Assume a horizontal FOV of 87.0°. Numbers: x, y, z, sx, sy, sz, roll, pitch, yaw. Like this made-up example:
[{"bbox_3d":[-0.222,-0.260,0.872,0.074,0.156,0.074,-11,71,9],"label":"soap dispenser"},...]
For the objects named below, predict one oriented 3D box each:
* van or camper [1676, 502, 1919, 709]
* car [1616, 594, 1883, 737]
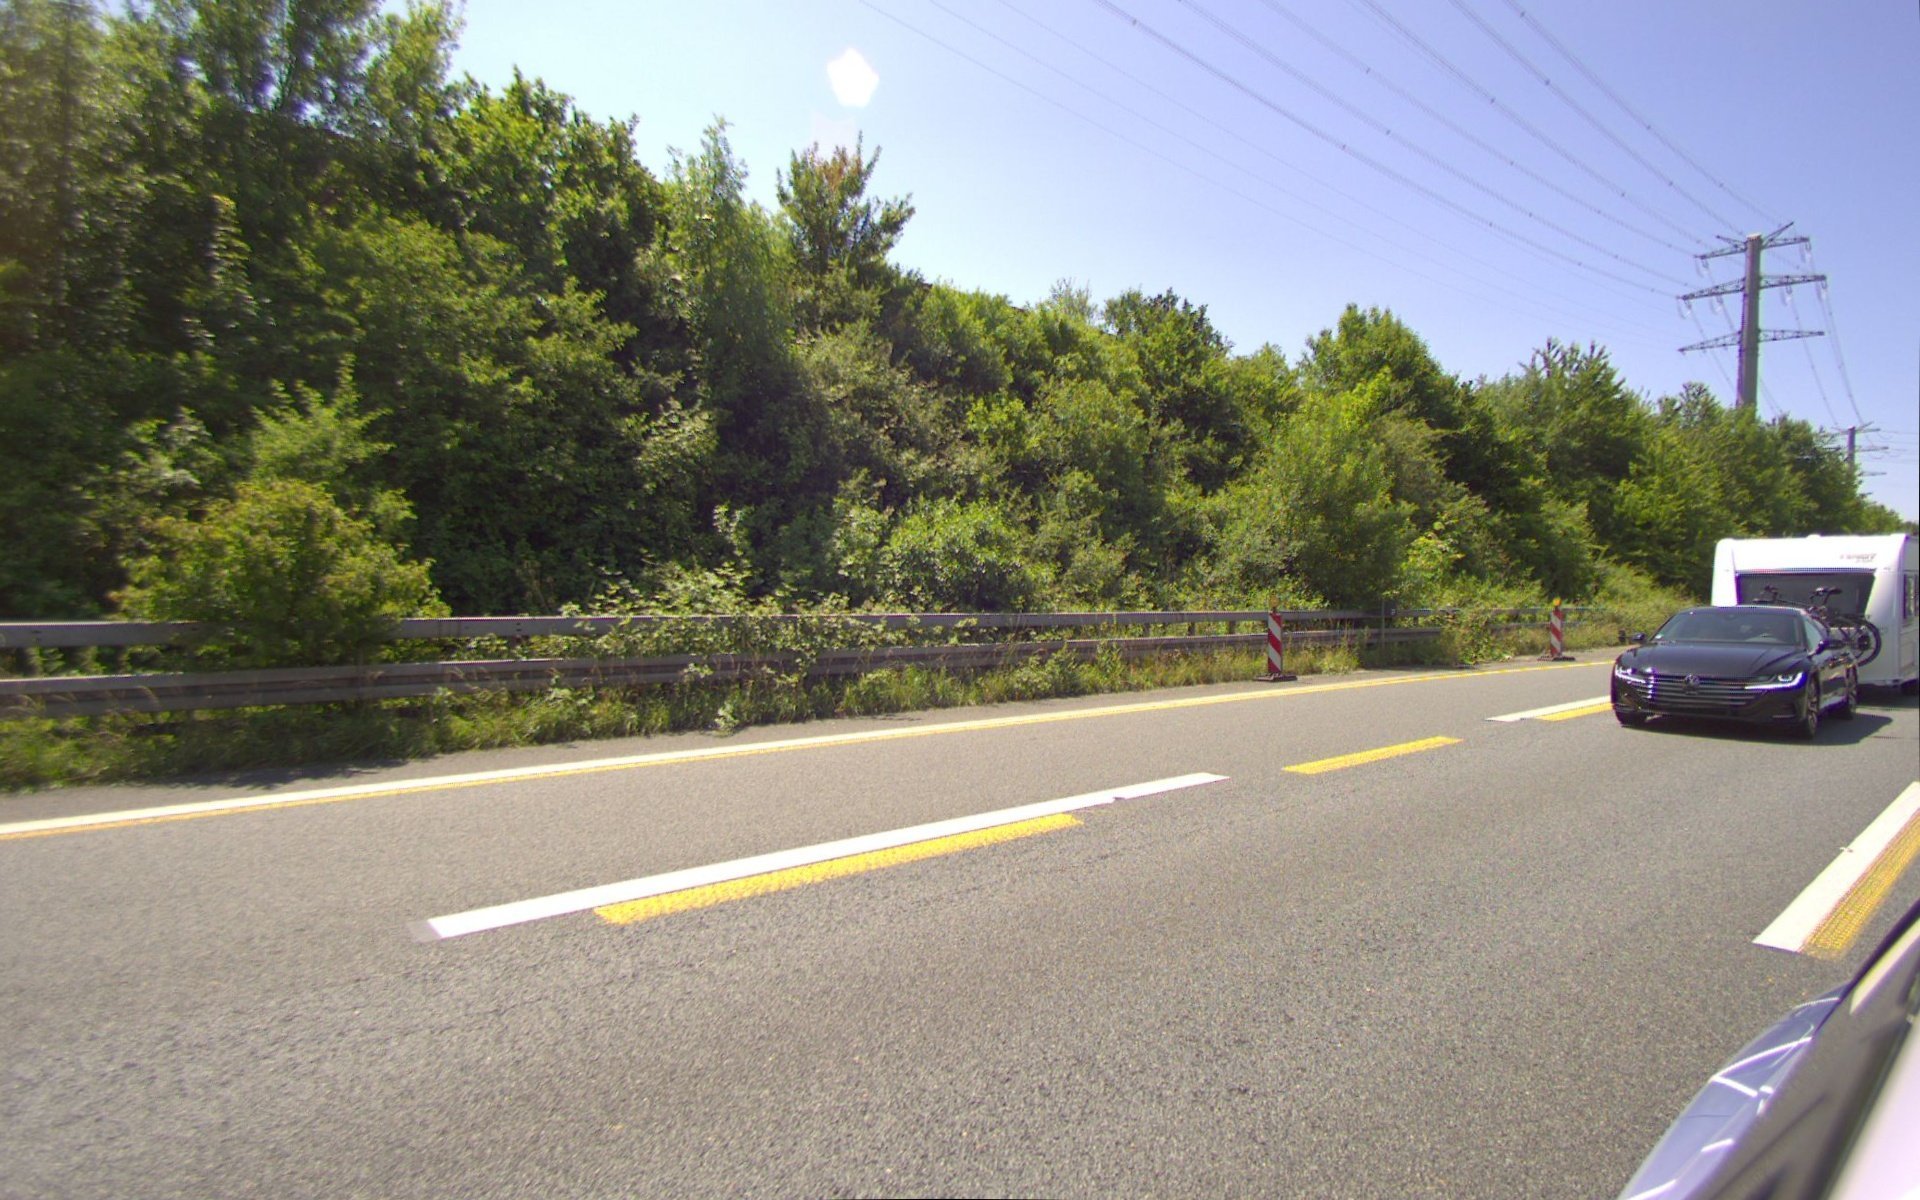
[{"bbox_3d":[14.205,0.053,16.371,8.271,2.597,2.430,0,0,-41],"label":"van or camper"},{"bbox_3d":[9.594,0.642,12.181,4.136,1.425,1.799,0,0,-41],"label":"car"}]
